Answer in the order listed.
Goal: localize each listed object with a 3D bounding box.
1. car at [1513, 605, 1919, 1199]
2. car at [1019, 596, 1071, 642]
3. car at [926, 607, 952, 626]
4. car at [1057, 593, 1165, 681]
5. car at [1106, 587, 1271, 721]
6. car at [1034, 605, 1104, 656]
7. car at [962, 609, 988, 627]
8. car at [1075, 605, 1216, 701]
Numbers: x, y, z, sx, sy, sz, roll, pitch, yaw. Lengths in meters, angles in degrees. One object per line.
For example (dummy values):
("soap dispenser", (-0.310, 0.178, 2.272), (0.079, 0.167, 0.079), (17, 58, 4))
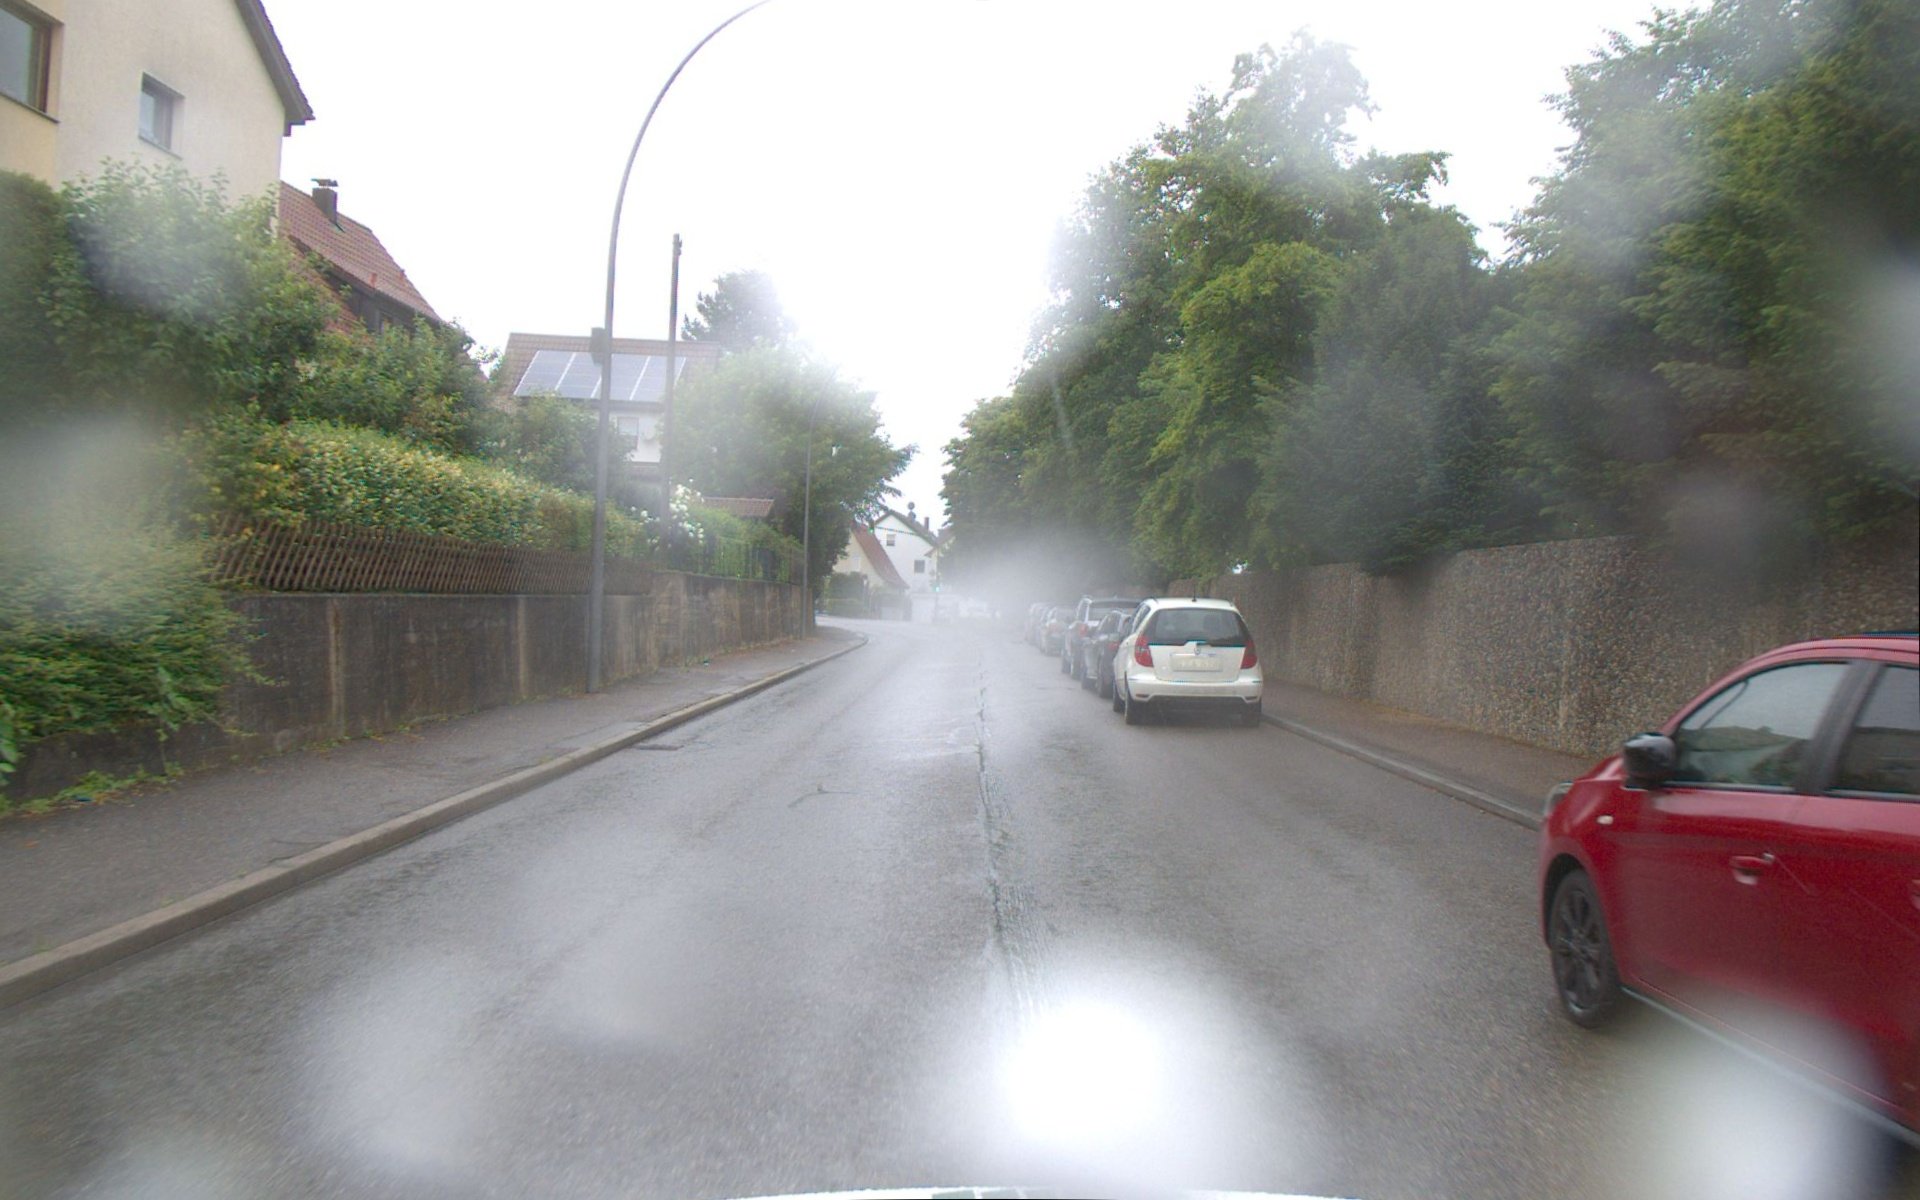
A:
("car", (3.103, 0.781, 4.954), (1.552, 1.480, 3.662), (0, 0, -2))
("car", (2.972, 0.648, 58.651), (1.614, 1.523, 4.246), (1, 0, 0))
("car", (-1.752, 1.376, 139.171), (1.867, 1.467, 4.002), (1, 0, 4))
("car", (3.089, 0.752, 34.673), (1.707, 1.697, 4.495), (1, -1, -2))
("car", (2.998, 0.691, 22.364), (1.777, 1.601, 3.881), (1, -1, 2))
("car", (3.161, 0.861, 48.446), (1.618, 1.395, 4.180), (2, 0, -2))
("car", (1.261, 1.476, 138.715), (1.867, 1.467, 4.002), (1, 0, 4))
("car", (3.098, 0.863, 28.460), (1.729, 1.472, 4.694), (2, -1, -2))
